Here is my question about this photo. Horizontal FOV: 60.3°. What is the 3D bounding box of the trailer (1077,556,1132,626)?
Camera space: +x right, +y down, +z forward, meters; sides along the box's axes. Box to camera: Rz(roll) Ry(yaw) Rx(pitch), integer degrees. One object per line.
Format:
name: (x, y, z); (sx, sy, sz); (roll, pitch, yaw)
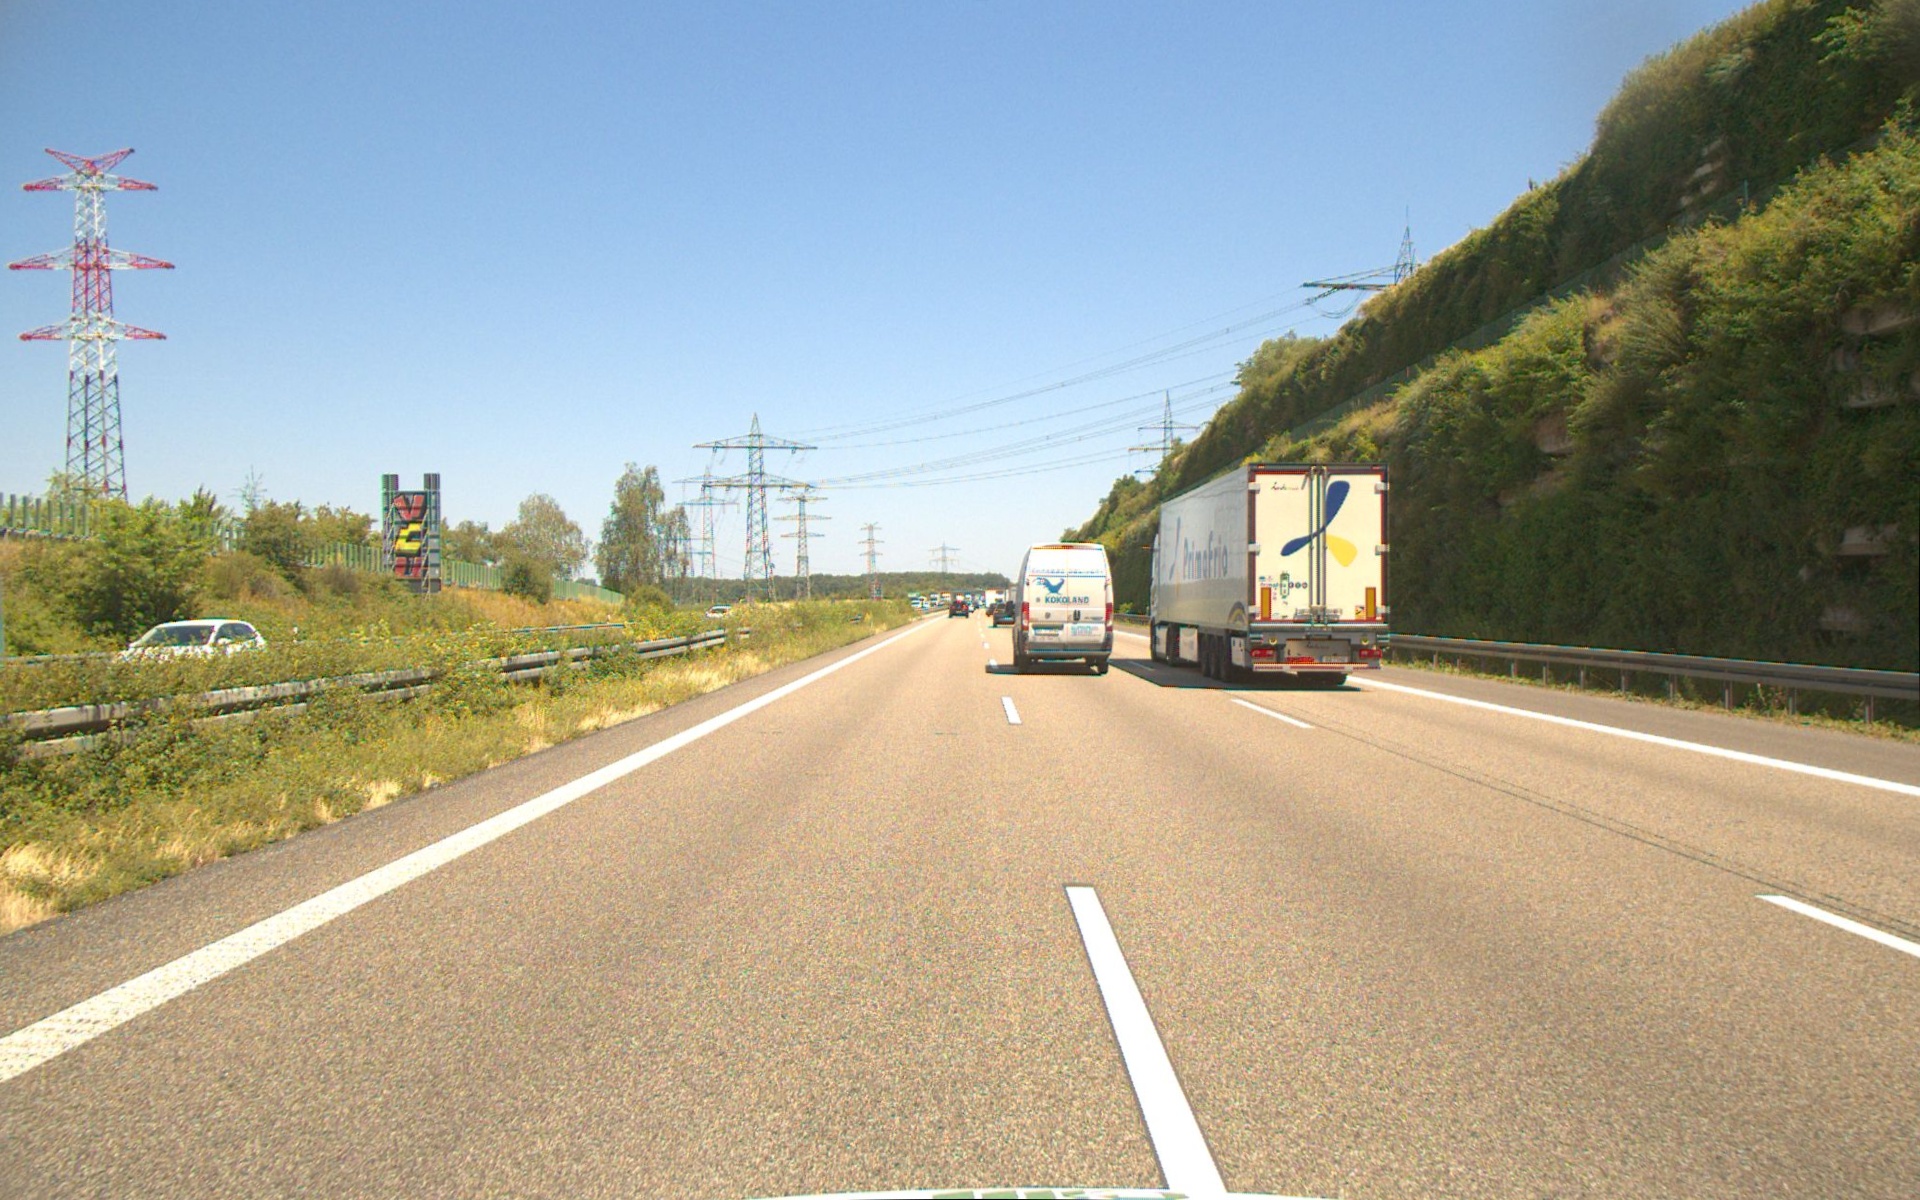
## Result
trailer: (8.588, -0.518, 98.803); (2.583, 3.965, 7.068); (1, 0, 0)

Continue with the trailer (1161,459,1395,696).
trailer: (6.383, -0.418, 35.482); (2.583, 4.131, 12.366); (1, 0, 0)

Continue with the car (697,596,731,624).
car: (-18.943, 0.773, 127.463); (1.927, 2.043, 4.402); (1, 0, -1)

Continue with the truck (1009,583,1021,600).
truck: (8.491, -1.347, 254.831); (1.760, 2.521, 4.614); (1, 0, 1)

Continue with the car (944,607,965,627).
car: (-0.532, 1.666, 163.317); (1.941, 1.849, 3.813); (1, 0, 1)

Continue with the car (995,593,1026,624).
car: (3.130, 0.504, 104.008); (1.759, 1.849, 3.800); (1, 0, -1)

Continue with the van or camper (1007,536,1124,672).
van or camper: (2.296, 0.076, 37.580); (2.185, 2.831, 5.422); (1, 0, -1)

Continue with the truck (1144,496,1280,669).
truck: (6.423, -0.431, 42.961); (2.583, 4.131, 5.799); (1, 0, 0)

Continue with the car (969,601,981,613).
car: (2.111, 0.976, 236.056); (1.664, 1.690, 3.708); (1, 0, 1)

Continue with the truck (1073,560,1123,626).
truck: (8.588, -0.412, 103.660); (2.583, 3.965, 5.904); (1, 0, 0)

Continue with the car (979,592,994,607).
car: (3.259, -0.006, 199.661); (1.748, 1.747, 3.708); (1, 0, 1)

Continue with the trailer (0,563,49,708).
trailer: (-18.493, 0.630, 29.631); (1.763, 2.664, 4.408); (1, 0, 1)

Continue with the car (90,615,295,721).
car: (-14.515, 1.227, 31.586); (1.745, 1.796, 4.361); (1, 0, 1)
